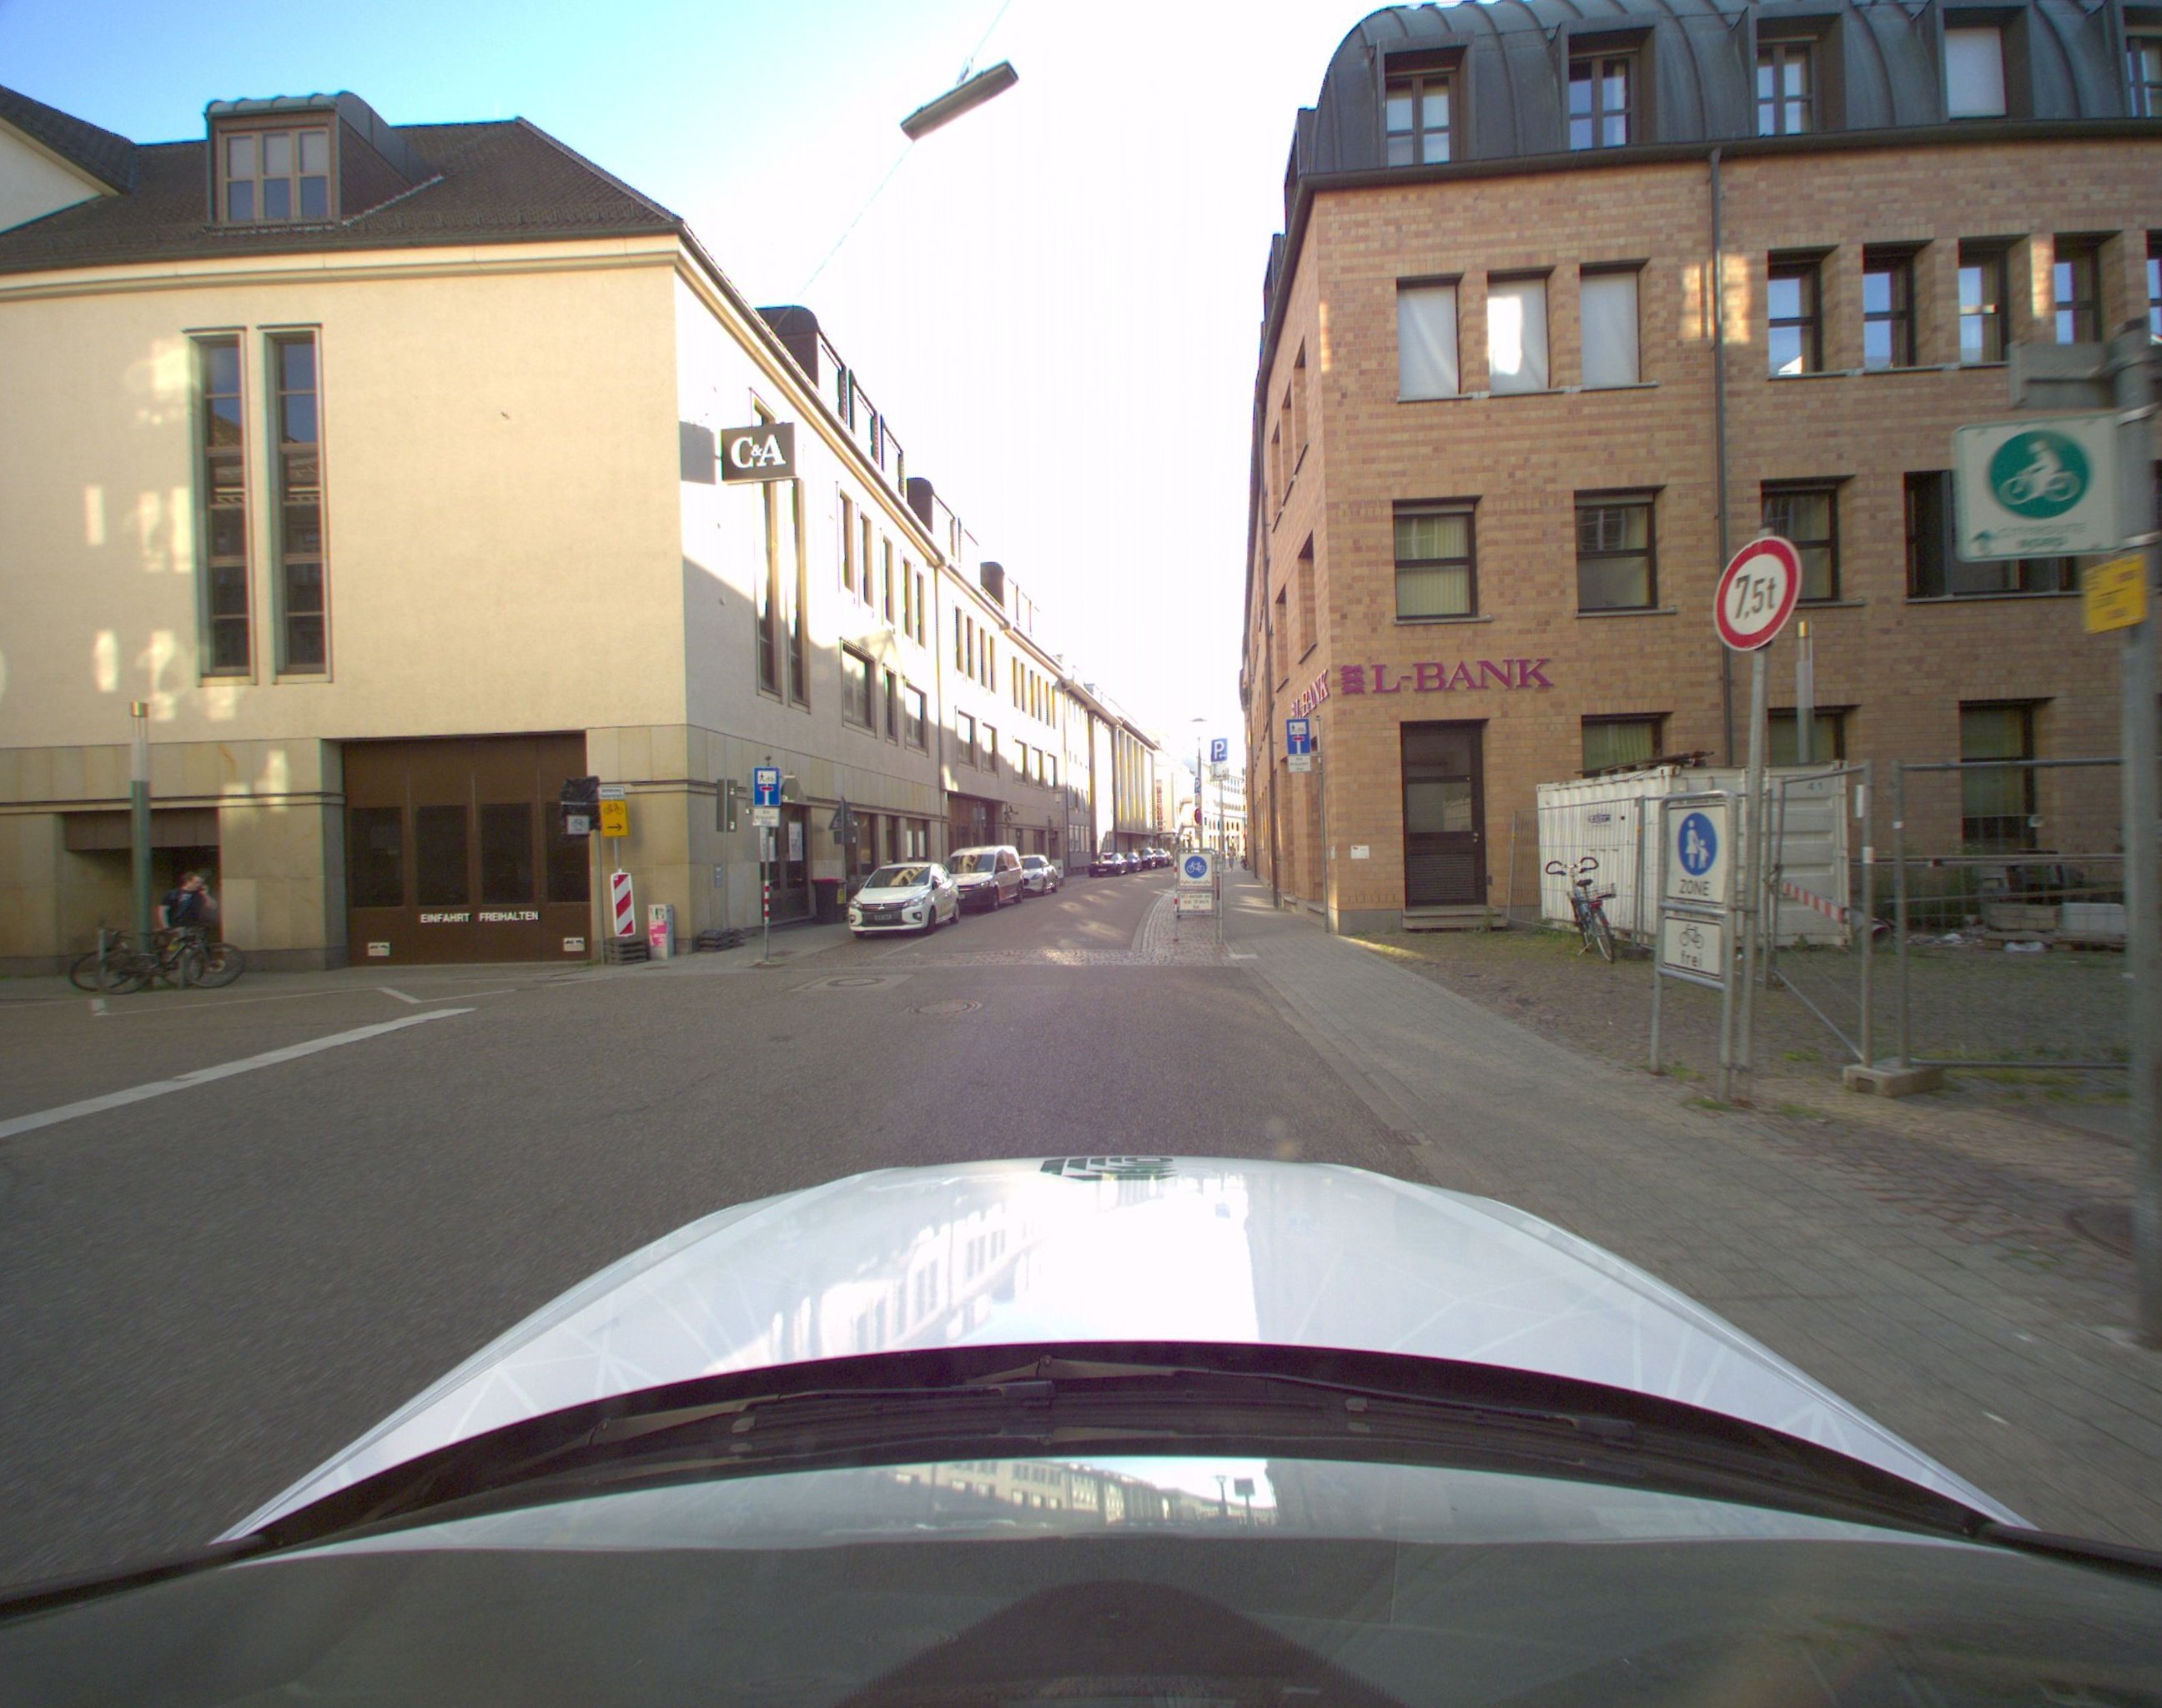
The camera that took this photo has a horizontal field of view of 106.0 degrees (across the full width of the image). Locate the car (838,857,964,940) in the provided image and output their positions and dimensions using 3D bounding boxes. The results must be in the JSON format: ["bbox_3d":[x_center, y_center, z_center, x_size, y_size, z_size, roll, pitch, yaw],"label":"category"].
[{"bbox_3d":[-3.785,0.874,17.803,1.664,1.507,3.796,-3,0,3],"label":"car"}]

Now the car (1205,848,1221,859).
[{"bbox_3d":[17.314,-0.118,106.977,1.677,1.370,3.632,-2,0,14],"label":"car"}]

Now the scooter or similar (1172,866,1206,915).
[{"bbox_3d":[2.519,0.845,19.064,0.767,1.136,0.269,1,-1,4],"label":"scooter or similar"}]

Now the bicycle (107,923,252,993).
[{"bbox_3d":[-13.797,1.584,12.482,1.694,0.965,0.224,-2,0,-9],"label":"bicycle"}]

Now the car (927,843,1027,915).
[{"bbox_3d":[-2.895,0.642,23.651,1.661,1.818,4.562,-3,0,8],"label":"car"}]

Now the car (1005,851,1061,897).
[{"bbox_3d":[-1.711,0.673,29.812,1.264,1.507,3.410,-3,0,9],"label":"car"}]

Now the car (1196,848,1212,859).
[{"bbox_3d":[16.846,-0.132,111.453,1.677,1.370,3.632,-2,0,14],"label":"car"}]

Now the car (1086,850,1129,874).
[{"bbox_3d":[1.667,0.464,50.177,1.869,1.332,4.114,-2,0,12],"label":"car"}]

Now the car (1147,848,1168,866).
[{"bbox_3d":[6.558,0.239,69.806,1.330,1.494,3.522,-2,0,12],"label":"car"}]

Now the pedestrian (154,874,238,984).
[{"bbox_3d":[-14.482,1.195,13.348,0.693,1.702,0.660,-1,0,-23],"label":"pedestrian"}]

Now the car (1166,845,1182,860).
[{"bbox_3d":[9.943,-0.150,86.884,1.330,1.494,3.358,-2,0,12],"label":"car"}]

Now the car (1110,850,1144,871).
[{"bbox_3d":[3.226,0.447,56.704,1.713,1.340,4.013,-2,0,12],"label":"car"}]

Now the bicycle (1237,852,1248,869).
[{"bbox_3d":[10.027,0.382,50.585,0.508,0.994,2.654,-2,0,8],"label":"bicycle"}]

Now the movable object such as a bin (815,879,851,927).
[{"bbox_3d":[-5.784,1.136,19.004,0.607,1.060,0.713,1,0,-1],"label":"movable object such as a bin"}]

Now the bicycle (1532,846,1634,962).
[{"bbox_3d":[6.229,0.570,10.192,0.546,1.317,1.653,-2,0,13],"label":"bicycle"}]

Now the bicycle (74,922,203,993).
[{"bbox_3d":[-14.608,1.597,12.640,1.482,1.004,0.270,-2,0,-8],"label":"bicycle"}]

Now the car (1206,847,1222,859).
[{"bbox_3d":[16.303,-0.094,99.674,1.677,1.370,3.632,-2,0,14],"label":"car"}]

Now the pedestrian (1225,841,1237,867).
[{"bbox_3d":[10.099,0.014,54.932,0.662,1.730,0.840,1,-1,1],"label":"pedestrian"}]
